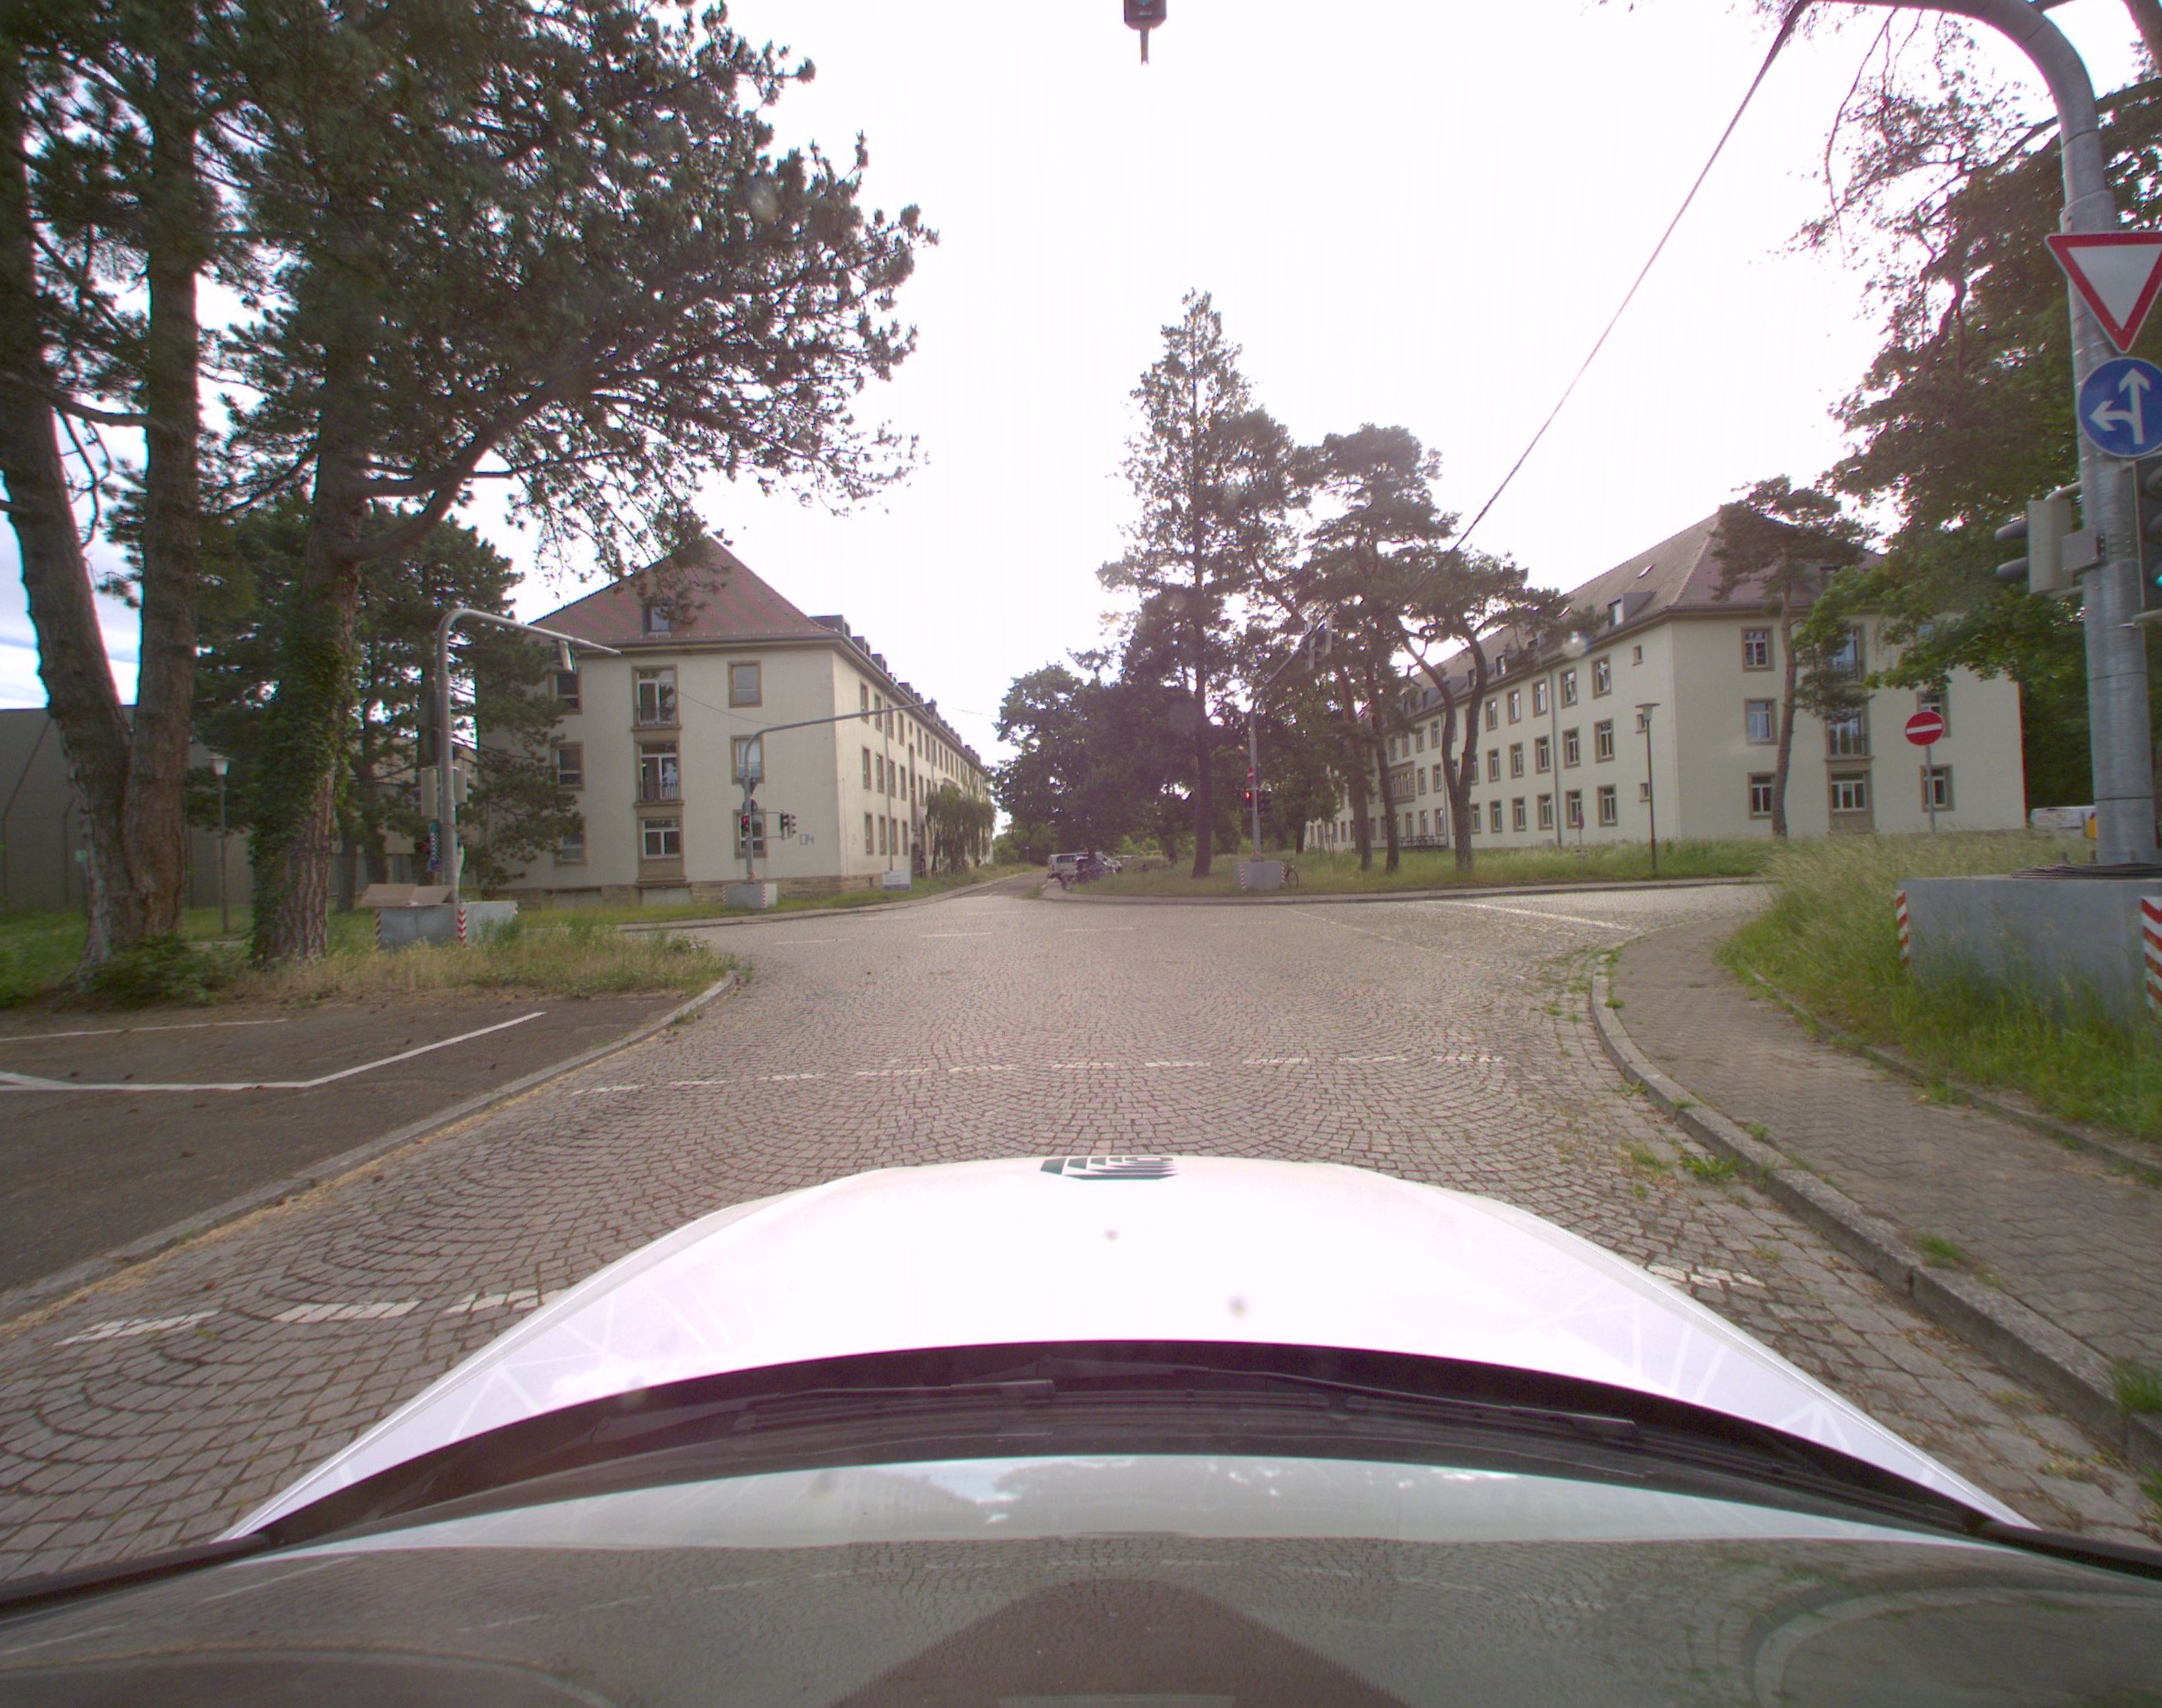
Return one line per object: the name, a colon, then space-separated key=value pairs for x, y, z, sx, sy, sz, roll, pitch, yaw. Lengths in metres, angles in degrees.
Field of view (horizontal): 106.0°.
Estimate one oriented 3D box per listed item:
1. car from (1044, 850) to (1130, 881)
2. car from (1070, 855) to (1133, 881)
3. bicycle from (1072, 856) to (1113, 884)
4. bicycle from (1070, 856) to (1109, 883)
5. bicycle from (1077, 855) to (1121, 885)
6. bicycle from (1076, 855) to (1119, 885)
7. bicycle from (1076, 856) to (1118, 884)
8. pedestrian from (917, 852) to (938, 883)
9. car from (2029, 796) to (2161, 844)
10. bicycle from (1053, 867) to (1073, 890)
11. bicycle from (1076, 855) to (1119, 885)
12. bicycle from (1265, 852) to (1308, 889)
car: x=0.429 y=0.816 z=57.542 sx=5.697 sy=1.910 sz=2.220 roll=-2 pitch=0 yaw=-13
car: x=1.320 y=0.909 z=54.177 sx=3.926 sy=1.544 sz=1.997 roll=-2 pitch=0 yaw=-5
bicycle: x=0.605 y=0.819 z=42.545 sx=2.063 sy=1.378 sz=0.620 roll=-2 pitch=-1 yaw=0
bicycle: x=0.471 y=0.839 z=44.029 sx=2.063 sy=1.378 sz=0.620 roll=-2 pitch=-1 yaw=0
bicycle: x=0.865 y=0.785 z=39.656 sx=2.063 sy=1.378 sz=0.620 roll=-2 pitch=-1 yaw=0
bicycle: x=0.820 y=0.800 z=40.951 sx=2.063 sy=1.378 sz=0.620 roll=-2 pitch=-1 yaw=0
bicycle: x=0.830 y=0.809 z=41.748 sx=2.063 sy=1.378 sz=0.620 roll=-2 pitch=-1 yaw=0
pedestrian: x=-10.402 y=0.926 z=55.073 sx=1.082 sy=2.013 sz=1.023 roll=-2 pitch=-1 yaw=5
car: x=55.762 y=-1.837 z=44.513 sx=5.162 sy=2.288 sz=2.214 roll=-2 pitch=0 yaw=1
bicycle: x=-0.817 y=1.120 z=37.845 sx=0.615 sy=0.963 sz=2.080 roll=-2 pitch=0 yaw=7
bicycle: x=0.823 y=0.793 z=40.326 sx=2.063 sy=1.378 sz=0.620 roll=-2 pitch=-1 yaw=0
bicycle: x=6.909 y=0.537 z=27.431 sx=0.906 sy=1.177 sz=1.873 roll=-2 pitch=0 yaw=-1
